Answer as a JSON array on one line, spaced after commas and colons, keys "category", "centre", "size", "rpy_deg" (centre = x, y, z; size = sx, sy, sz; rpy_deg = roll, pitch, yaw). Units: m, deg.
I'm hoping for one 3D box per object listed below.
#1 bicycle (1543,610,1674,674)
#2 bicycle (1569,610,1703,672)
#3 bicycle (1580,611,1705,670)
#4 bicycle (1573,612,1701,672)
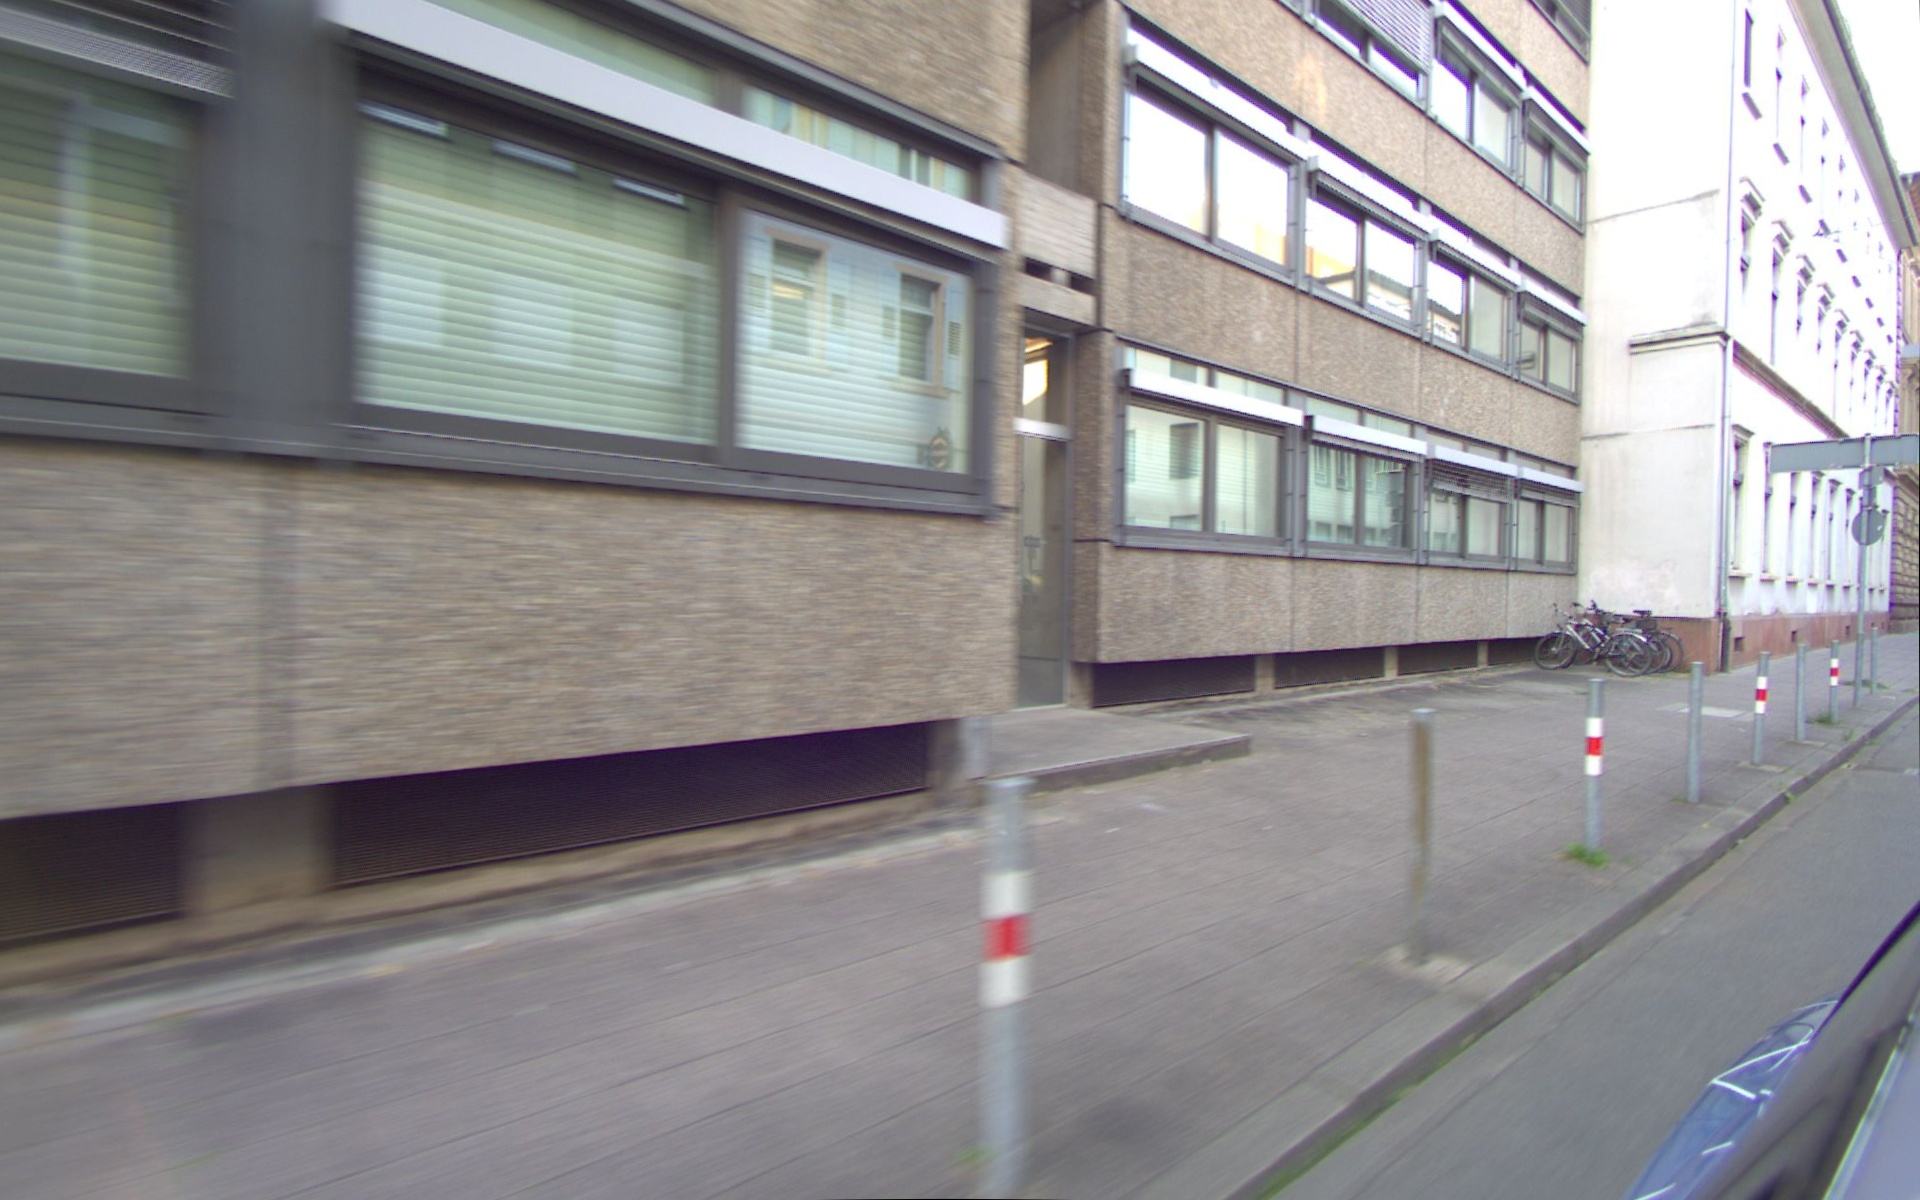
[{"category": "bicycle", "centre": [10.490, 0.660, 16.409], "size": [1.738, 0.934, 0.530], "rpy_deg": [1, 1, 42]}, {"category": "bicycle", "centre": [11.202, 0.658, 16.812], "size": [1.793, 0.934, 0.530], "rpy_deg": [1, 1, 41]}, {"category": "bicycle", "centre": [12.017, 0.693, 17.859], "size": [0.390, 0.934, 1.796], "rpy_deg": [0, 1, -45]}, {"category": "bicycle", "centre": [11.642, 0.699, 17.438], "size": [1.793, 0.934, 0.509], "rpy_deg": [1, 1, 41]}]
